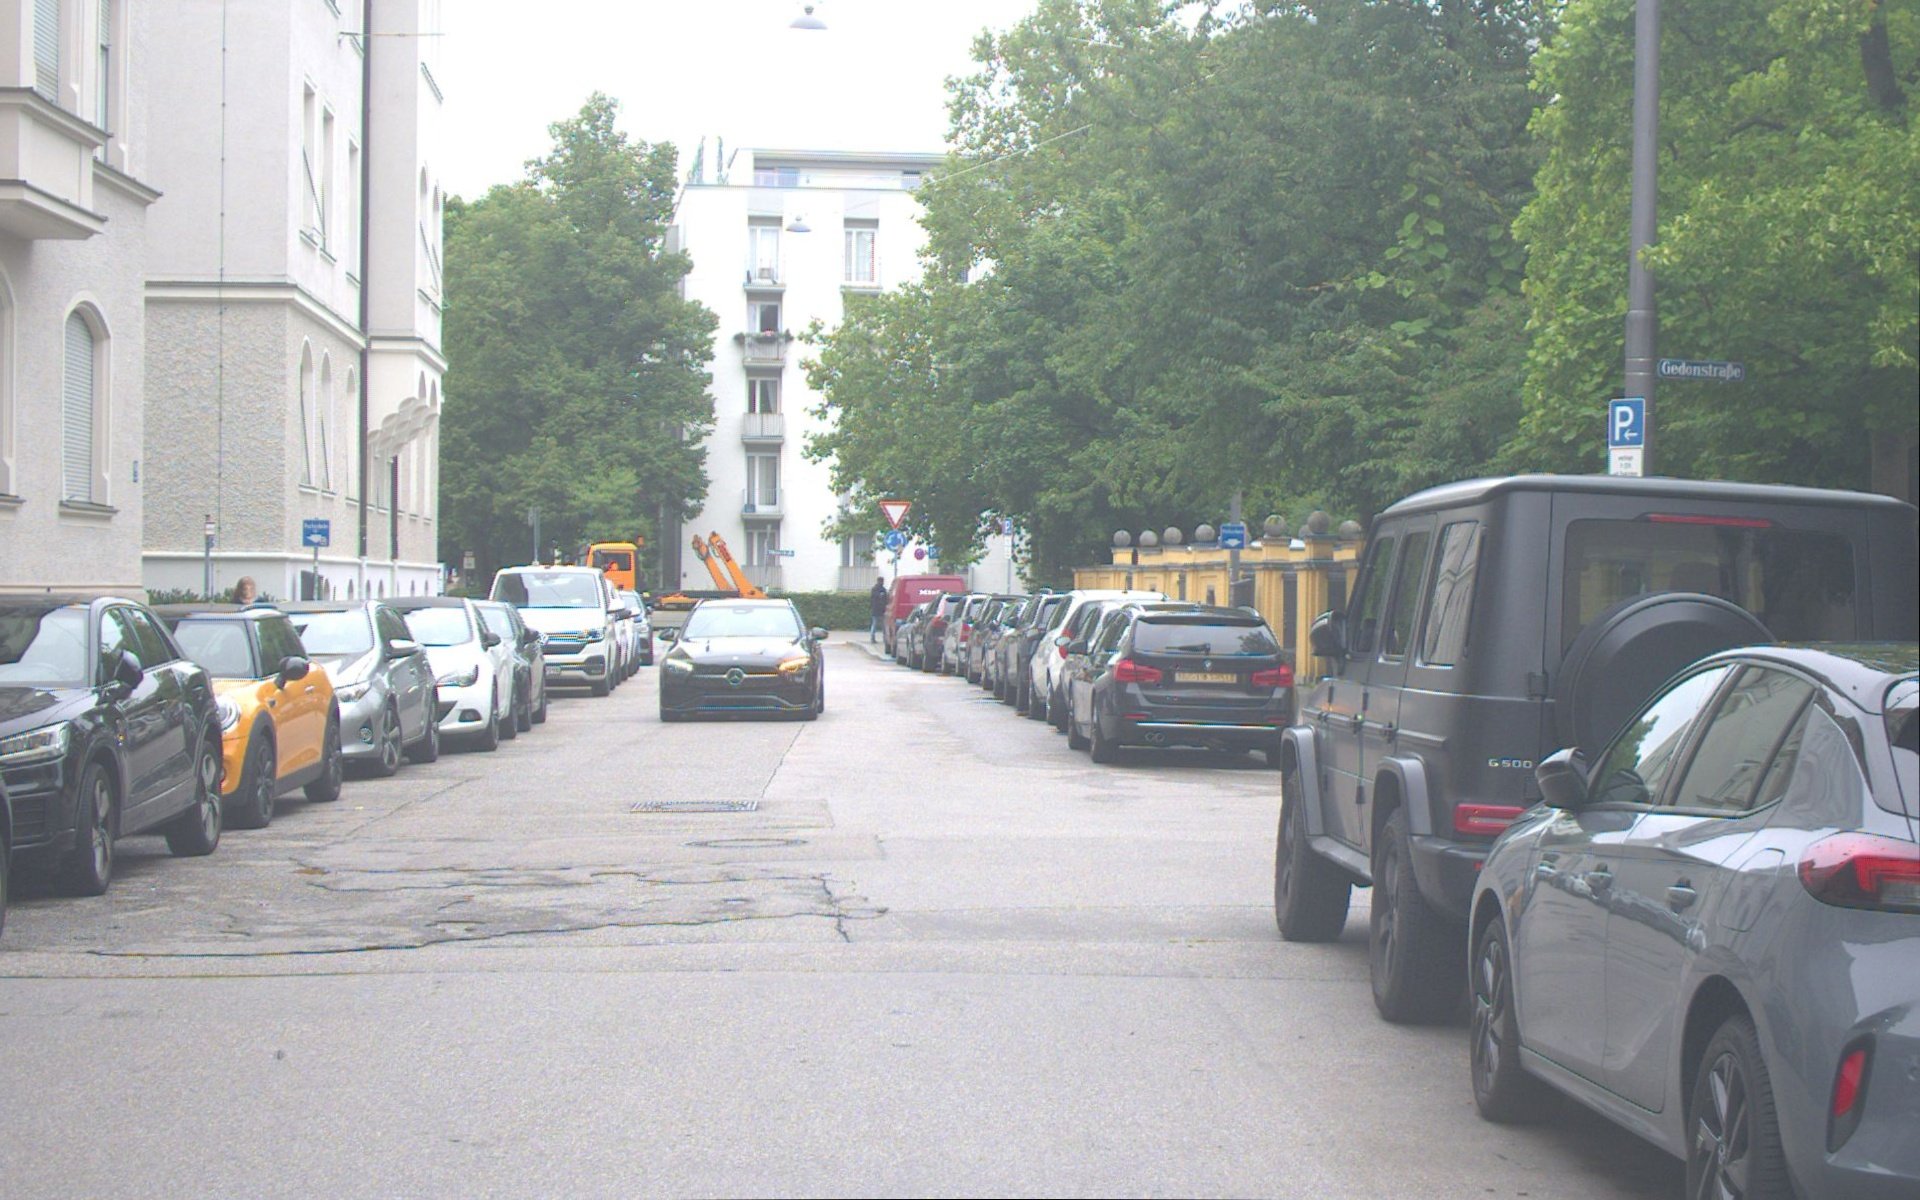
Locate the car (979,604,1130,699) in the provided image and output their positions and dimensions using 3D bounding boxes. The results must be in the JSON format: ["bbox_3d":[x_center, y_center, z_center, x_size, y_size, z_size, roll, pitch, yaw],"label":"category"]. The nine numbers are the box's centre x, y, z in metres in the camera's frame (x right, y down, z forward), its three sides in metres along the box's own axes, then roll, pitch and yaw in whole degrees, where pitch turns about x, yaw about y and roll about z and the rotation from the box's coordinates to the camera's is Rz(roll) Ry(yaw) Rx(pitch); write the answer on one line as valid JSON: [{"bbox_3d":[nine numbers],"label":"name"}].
[{"bbox_3d":[1.390,0.771,52.091,1.838,1.341,3.948,2,-1,-5],"label":"car"}]

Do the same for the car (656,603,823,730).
[{"bbox_3d":[-2.622,0.760,41.171,1.874,1.423,4.409,0,0,-3],"label":"car"}]

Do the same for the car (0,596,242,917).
[{"bbox_3d":[-5.101,0.754,18.197,1.753,1.494,4.019,-1,0,0],"label":"car"}]

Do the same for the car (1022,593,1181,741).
[{"bbox_3d":[1.659,0.790,41.333,1.513,1.656,3.674,2,-1,-3],"label":"car"}]

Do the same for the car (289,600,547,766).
[{"bbox_3d":[-5.234,0.761,33.699,1.836,1.433,4.275,-2,0,0],"label":"car"}]

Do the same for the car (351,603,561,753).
[{"bbox_3d":[-5.577,0.826,38.513,1.836,1.494,4.275,-2,0,-2],"label":"car"}]

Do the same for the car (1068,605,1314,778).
[{"bbox_3d":[2.030,0.804,31.352,1.838,1.408,4.342,2,-1,-1],"label":"car"}]

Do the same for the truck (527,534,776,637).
[{"bbox_3d":[-10.028,-0.451,111.440,7.668,3.230,2.900,0,0,-13],"label":"truck"}]

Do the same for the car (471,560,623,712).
[{"bbox_3d":[-6.196,0.510,52.008,1.886,2.120,4.707,-2,0,-3],"label":"car"}]

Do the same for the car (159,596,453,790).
[{"bbox_3d":[-5.398,0.746,28.804,1.726,1.494,3.930,-1,-1,0],"label":"car"}]

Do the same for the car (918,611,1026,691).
[{"bbox_3d":[0.216,1.028,70.024,1.838,1.514,3.948,2,-1,-5],"label":"car"}]

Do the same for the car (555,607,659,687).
[{"bbox_3d":[-7.751,1.011,75.832,2.015,1.628,4.414,-2,0,-3],"label":"car"}]

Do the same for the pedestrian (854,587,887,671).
[{"bbox_3d":[-2.459,0.790,94.510,0.840,2.277,0.844,0,0,2],"label":"pedestrian"}]

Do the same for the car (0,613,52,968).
[{"bbox_3d":[-4.823,0.814,12.616,1.836,1.431,4.244,-2,0,0],"label":"car"}]

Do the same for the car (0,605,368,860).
[{"bbox_3d":[-5.200,0.826,23.231,1.640,1.494,3.971,-2,0,0],"label":"car"}]

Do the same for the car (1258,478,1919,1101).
[{"bbox_3d":[2.425,0.586,13.374,1.950,1.948,4.666,2,1,-1],"label":"car"}]

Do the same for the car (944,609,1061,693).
[{"bbox_3d":[0.782,0.966,65.969,1.838,1.514,3.948,2,-1,-5],"label":"car"}]

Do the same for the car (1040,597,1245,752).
[{"bbox_3d":[1.889,0.770,36.606,1.652,1.514,3.795,2,-1,-5],"label":"car"}]

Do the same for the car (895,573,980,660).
[{"bbox_3d":[-0.510,0.383,81.874,1.836,1.920,4.004,3,0,1],"label":"car"}]

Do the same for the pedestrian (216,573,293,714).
[{"bbox_3d":[-8.507,0.518,41.485,0.792,1.673,0.700,0,0,-2],"label":"pedestrian"}]

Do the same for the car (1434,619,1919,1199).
[{"bbox_3d":[2.412,0.858,8.596,1.722,1.513,3.631,3,-1,-3],"label":"car"}]
